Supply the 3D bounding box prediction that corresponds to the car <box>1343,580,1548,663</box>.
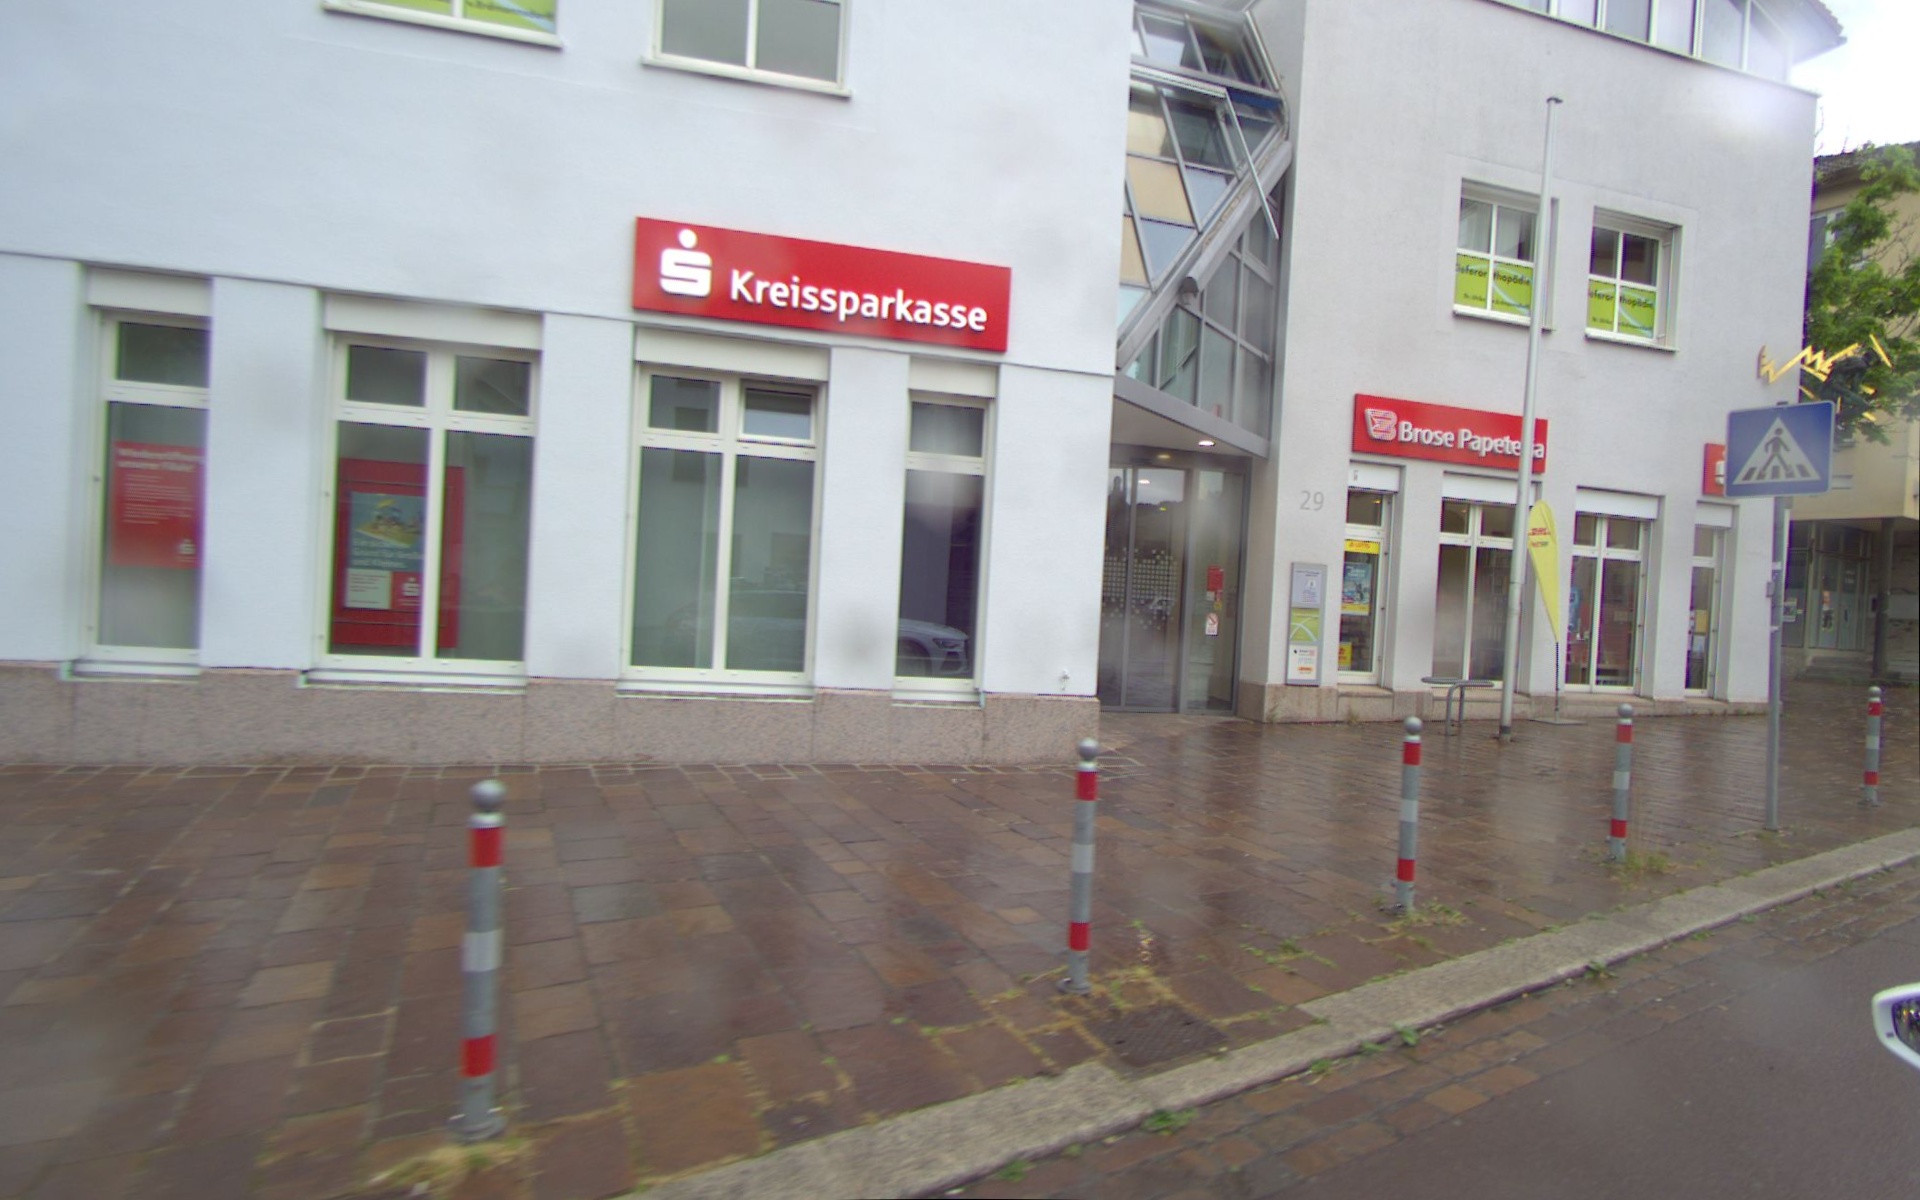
[{"bbox_3d":[10.674,0.446,22.444,1.826,1.639,4.106,2,0,-16],"label":"car"}]
